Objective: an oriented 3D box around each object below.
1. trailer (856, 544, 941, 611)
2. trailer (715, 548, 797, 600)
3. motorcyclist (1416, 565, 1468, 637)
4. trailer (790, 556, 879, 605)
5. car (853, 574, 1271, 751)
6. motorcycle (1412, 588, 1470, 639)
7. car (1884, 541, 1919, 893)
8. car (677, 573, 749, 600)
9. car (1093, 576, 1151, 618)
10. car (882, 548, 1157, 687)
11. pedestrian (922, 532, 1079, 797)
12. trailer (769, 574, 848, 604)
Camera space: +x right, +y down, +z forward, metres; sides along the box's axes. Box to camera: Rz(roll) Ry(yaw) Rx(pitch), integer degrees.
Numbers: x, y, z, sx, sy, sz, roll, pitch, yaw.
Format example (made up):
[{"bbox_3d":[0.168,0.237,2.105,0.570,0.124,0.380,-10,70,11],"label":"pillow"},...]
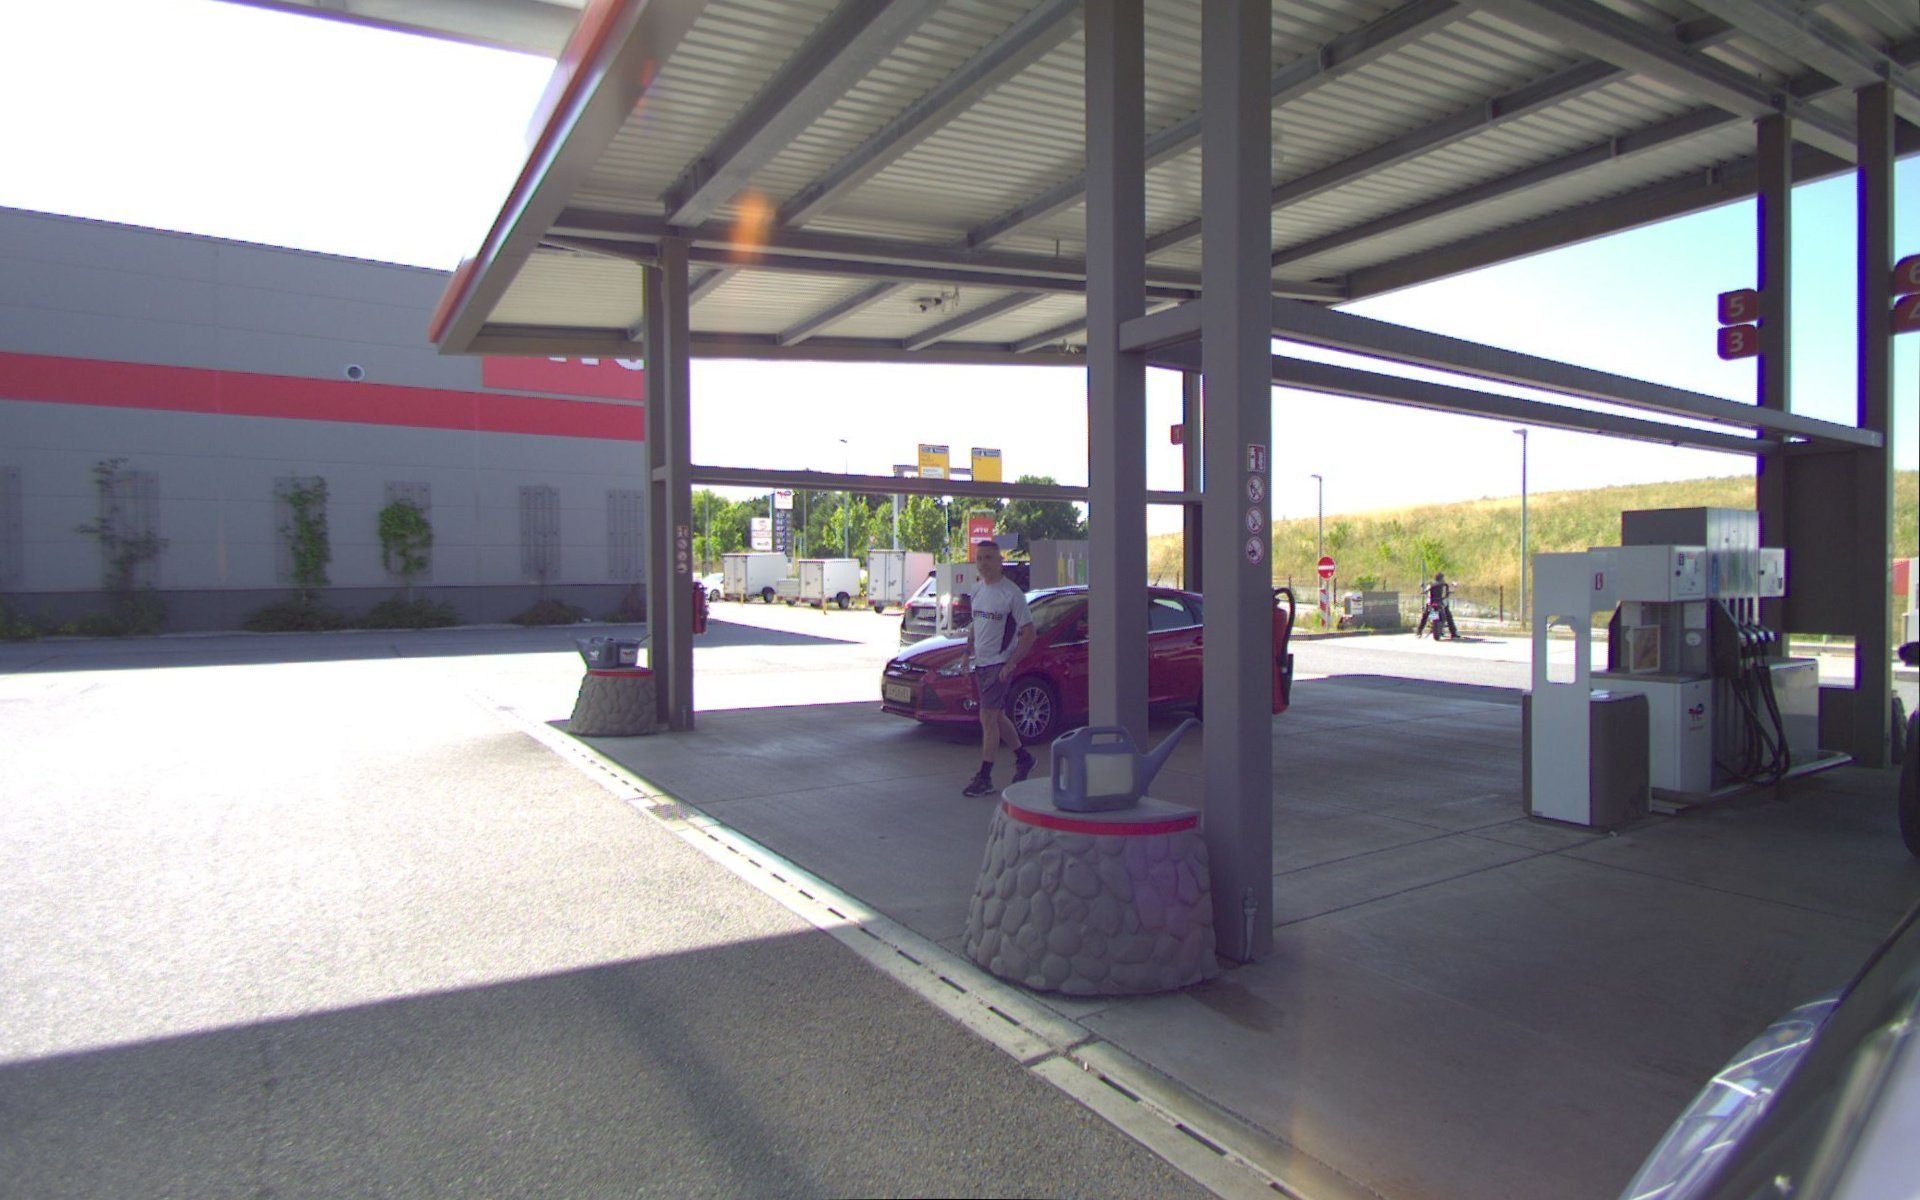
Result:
[{"bbox_3d":[-2.329,-0.901,39.533,1.974,2.457,3.977,1,1,19],"label":"trailer"},{"bbox_3d":[-10.137,-1.310,50.566,1.982,2.457,3.960,1,2,29],"label":"trailer"},{"bbox_3d":[11.809,0.000,24.791,1.027,1.709,1.087,1,1,32],"label":"motorcyclist"},{"bbox_3d":[-5.388,-0.853,43.971,1.789,2.039,3.956,1,1,31],"label":"trailer"},{"bbox_3d":[1.140,0.488,10.372,4.151,1.487,1.705,-1,1,-34],"label":"car"},{"bbox_3d":[11.825,0.295,24.829,1.038,1.119,2.389,1,3,31],"label":"motorcycle"},{"bbox_3d":[6.764,0.540,5.662,4.549,1.665,1.742,-1,1,-40],"label":"car"},{"bbox_3d":[-12.509,-0.706,51.435,1.662,1.334,3.807,1,2,23],"label":"car"},{"bbox_3d":[6.160,-0.163,38.812,1.777,1.521,3.997,0,1,4],"label":"car"},{"bbox_3d":[1.115,0.202,16.152,2.024,1.874,4.731,2,1,38],"label":"car"},{"bbox_3d":[0.295,0.409,7.161,0.700,1.724,0.914,1,1,41],"label":"pedestrian"},{"bbox_3d":[-6.838,-0.523,46.028,1.566,1.297,3.678,1,1,31],"label":"trailer"}]
